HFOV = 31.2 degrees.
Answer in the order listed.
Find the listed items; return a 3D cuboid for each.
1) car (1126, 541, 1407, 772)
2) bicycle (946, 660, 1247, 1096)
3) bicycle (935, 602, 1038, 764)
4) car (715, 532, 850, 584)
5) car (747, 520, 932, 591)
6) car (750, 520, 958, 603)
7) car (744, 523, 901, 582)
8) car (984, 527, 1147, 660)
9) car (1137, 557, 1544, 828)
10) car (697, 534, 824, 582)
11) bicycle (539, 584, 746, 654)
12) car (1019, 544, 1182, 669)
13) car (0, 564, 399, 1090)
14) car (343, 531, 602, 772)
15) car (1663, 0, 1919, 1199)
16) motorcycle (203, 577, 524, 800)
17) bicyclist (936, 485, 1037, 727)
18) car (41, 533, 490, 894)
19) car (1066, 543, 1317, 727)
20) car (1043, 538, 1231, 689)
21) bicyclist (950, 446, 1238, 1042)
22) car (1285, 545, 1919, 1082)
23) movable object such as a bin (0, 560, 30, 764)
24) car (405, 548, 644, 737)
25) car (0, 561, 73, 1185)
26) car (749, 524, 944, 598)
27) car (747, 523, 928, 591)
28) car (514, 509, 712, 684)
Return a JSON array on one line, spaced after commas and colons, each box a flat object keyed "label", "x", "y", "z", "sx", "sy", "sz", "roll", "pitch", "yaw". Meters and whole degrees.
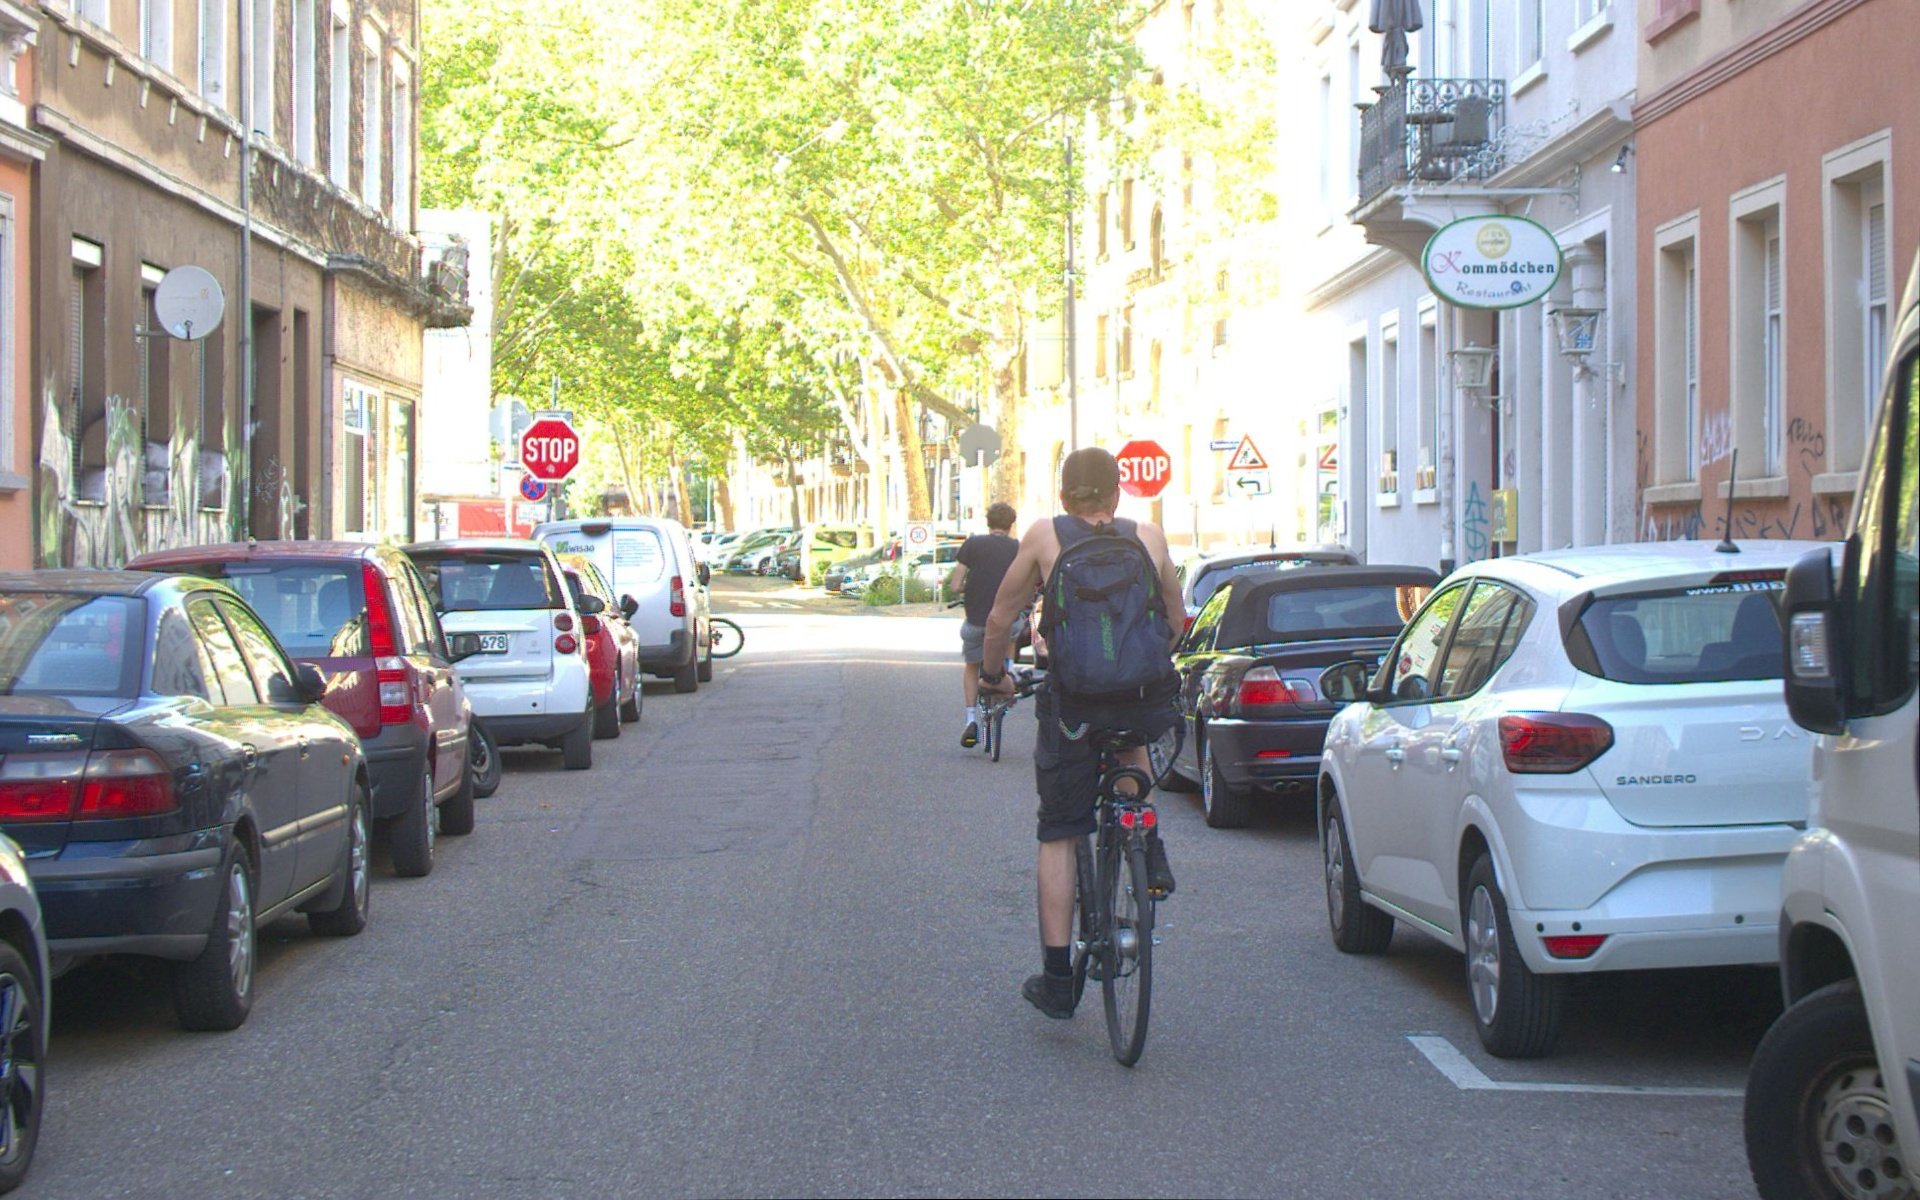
[{"label": "car", "x": 2.097, "y": 0.333, "z": 24.396, "sx": 1.592, "sy": 1.487, "sz": 3.876, "roll": 0, "pitch": 1, "yaw": -1}, {"label": "bicycle", "x": 0.368, "y": 0.778, "z": 10.395, "sx": 0.740, "sy": 1.097, "sz": 2.042, "roll": 2, "pitch": 1, "yaw": -2}, {"label": "bicycle", "x": 0.171, "y": 0.556, "z": 24.003, "sx": 0.664, "sy": 1.034, "sz": 1.959, "roll": 0, "pitch": 1, "yaw": -1}, {"label": "car", "x": -5.999, "y": -1.433, "z": 116.189, "sx": 4.468, "sy": 1.690, "sz": 1.867, "roll": 0, "pitch": 1, "yaw": -5}, {"label": "car", "x": -3.000, "y": -1.110, "z": 85.039, "sx": 4.468, "sy": 1.690, "sz": 1.867, "roll": 0, "pitch": 1, "yaw": -5}, {"label": "car", "x": -2.351, "y": -0.858, "z": 75.767, "sx": 4.468, "sy": 1.753, "sz": 1.867, "roll": 0, "pitch": 1, "yaw": -5}, {"label": "car", "x": -4.027, "y": -1.397, "z": 100.449, "sx": 4.468, "sy": 1.690, "sz": 1.867, "roll": 0, "pitch": 1, "yaw": -5}, {"label": "car", "x": 1.422, "y": -0.131, "z": 47.800, "sx": 1.893, "sy": 1.763, "sz": 4.001, "roll": 0, "pitch": 1, "yaw": -3}, {"label": "car", "x": 2.032, "y": 0.443, "z": 19.416, "sx": 1.657, "sy": 1.334, "sz": 4.001, "roll": 0, "pitch": 1, "yaw": -3}, {"label": "car", "x": -7.167, "y": -1.518, "z": 123.225, "sx": 4.468, "sy": 1.690, "sz": 1.867, "roll": 0, "pitch": 1, "yaw": -5}, {"label": "bicycle", "x": -4.207, "y": 0.247, "z": 45.681, "sx": 2.715, "sy": 0.889, "sz": 0.619, "roll": 0, "pitch": 1, "yaw": -3}, {"label": "car", "x": 1.693, "y": 0.047, "z": 42.533, "sx": 1.686, "sy": 1.466, "sz": 3.575, "roll": 0, "pitch": 1, "yaw": -3}, {"label": "car", "x": -3.065, "y": 0.608, "z": 11.619, "sx": 1.706, "sy": 1.409, "sz": 4.302, "roll": 0, "pitch": 1, "yaw": -1}, {"label": "car", "x": -3.327, "y": 0.298, "z": 23.949, "sx": 1.544, "sy": 1.545, "sz": 3.466, "roll": 0, "pitch": 1, "yaw": -4}, {"label": "car", "x": 2.733, "y": 0.169, "z": 5.137, "sx": 2.204, "sy": 2.542, "sz": 6.036, "roll": 0, "pitch": 1, "yaw": 1}, {"label": "motorcycle", "x": -3.511, "y": 0.502, "z": 20.198, "sx": 1.795, "sy": 1.251, "sz": 0.710, "roll": -1, "pitch": 1, "yaw": -15}, {"label": "bicyclist", "x": 0.176, "y": 0.035, "z": 23.952, "sx": 0.669, "sy": 1.653, "sz": 0.877, "roll": 0, "pitch": 1, "yaw": -1}, {"label": "car", "x": -3.234, "y": 0.457, "z": 16.575, "sx": 1.604, "sy": 1.525, "sz": 3.379, "roll": -1, "pitch": 1, "yaw": -3}, {"label": "car", "x": 1.940, "y": 0.248, "z": 29.852, "sx": 1.710, "sy": 1.465, "sz": 4.001, "roll": 0, "pitch": 1, "yaw": -3}, {"label": "car", "x": 1.857, "y": 0.102, "z": 36.959, "sx": 1.652, "sy": 1.525, "sz": 3.575, "roll": 0, "pitch": 1, "yaw": -3}, {"label": "bicyclist", "x": 0.378, "y": 0.400, "z": 10.314, "sx": 0.740, "sy": 1.673, "sz": 1.117, "roll": 2, "pitch": 1, "yaw": -2}, {"label": "car", "x": 2.283, "y": 0.559, "z": 11.601, "sx": 1.731, "sy": 1.465, "sz": 4.022, "roll": 0, "pitch": 1, "yaw": -4}, {"label": "movable object such as a bin", "x": -5.750, "y": 0.374, "z": 19.169, "sx": 0.834, "sy": 1.122, "sz": 0.716, "roll": -5, "pitch": 1, "yaw": 1}, {"label": "car", "x": -3.449, "y": 0.292, "z": 27.713, "sx": 1.552, "sy": 1.395, "sz": 3.668, "roll": 0, "pitch": 1, "yaw": -2}, {"label": "car", "x": -3.067, "y": 0.662, "z": 6.558, "sx": 1.674, "sy": 1.425, "sz": 3.888, "roll": 0, "pitch": 1, "yaw": 1}, {"label": "car", "x": -2.682, "y": -0.934, "z": 80.724, "sx": 4.468, "sy": 1.690, "sz": 1.867, "roll": 0, "pitch": 1, "yaw": -5}, {"label": "car", "x": -3.124, "y": -1.096, "z": 87.293, "sx": 4.468, "sy": 1.690, "sz": 1.867, "roll": 0, "pitch": 1, "yaw": -5}, {"label": "car", "x": -3.592, "y": -0.074, "z": 36.146, "sx": 1.787, "sy": 1.731, "sz": 3.876, "roll": 0, "pitch": 1, "yaw": -2}]
